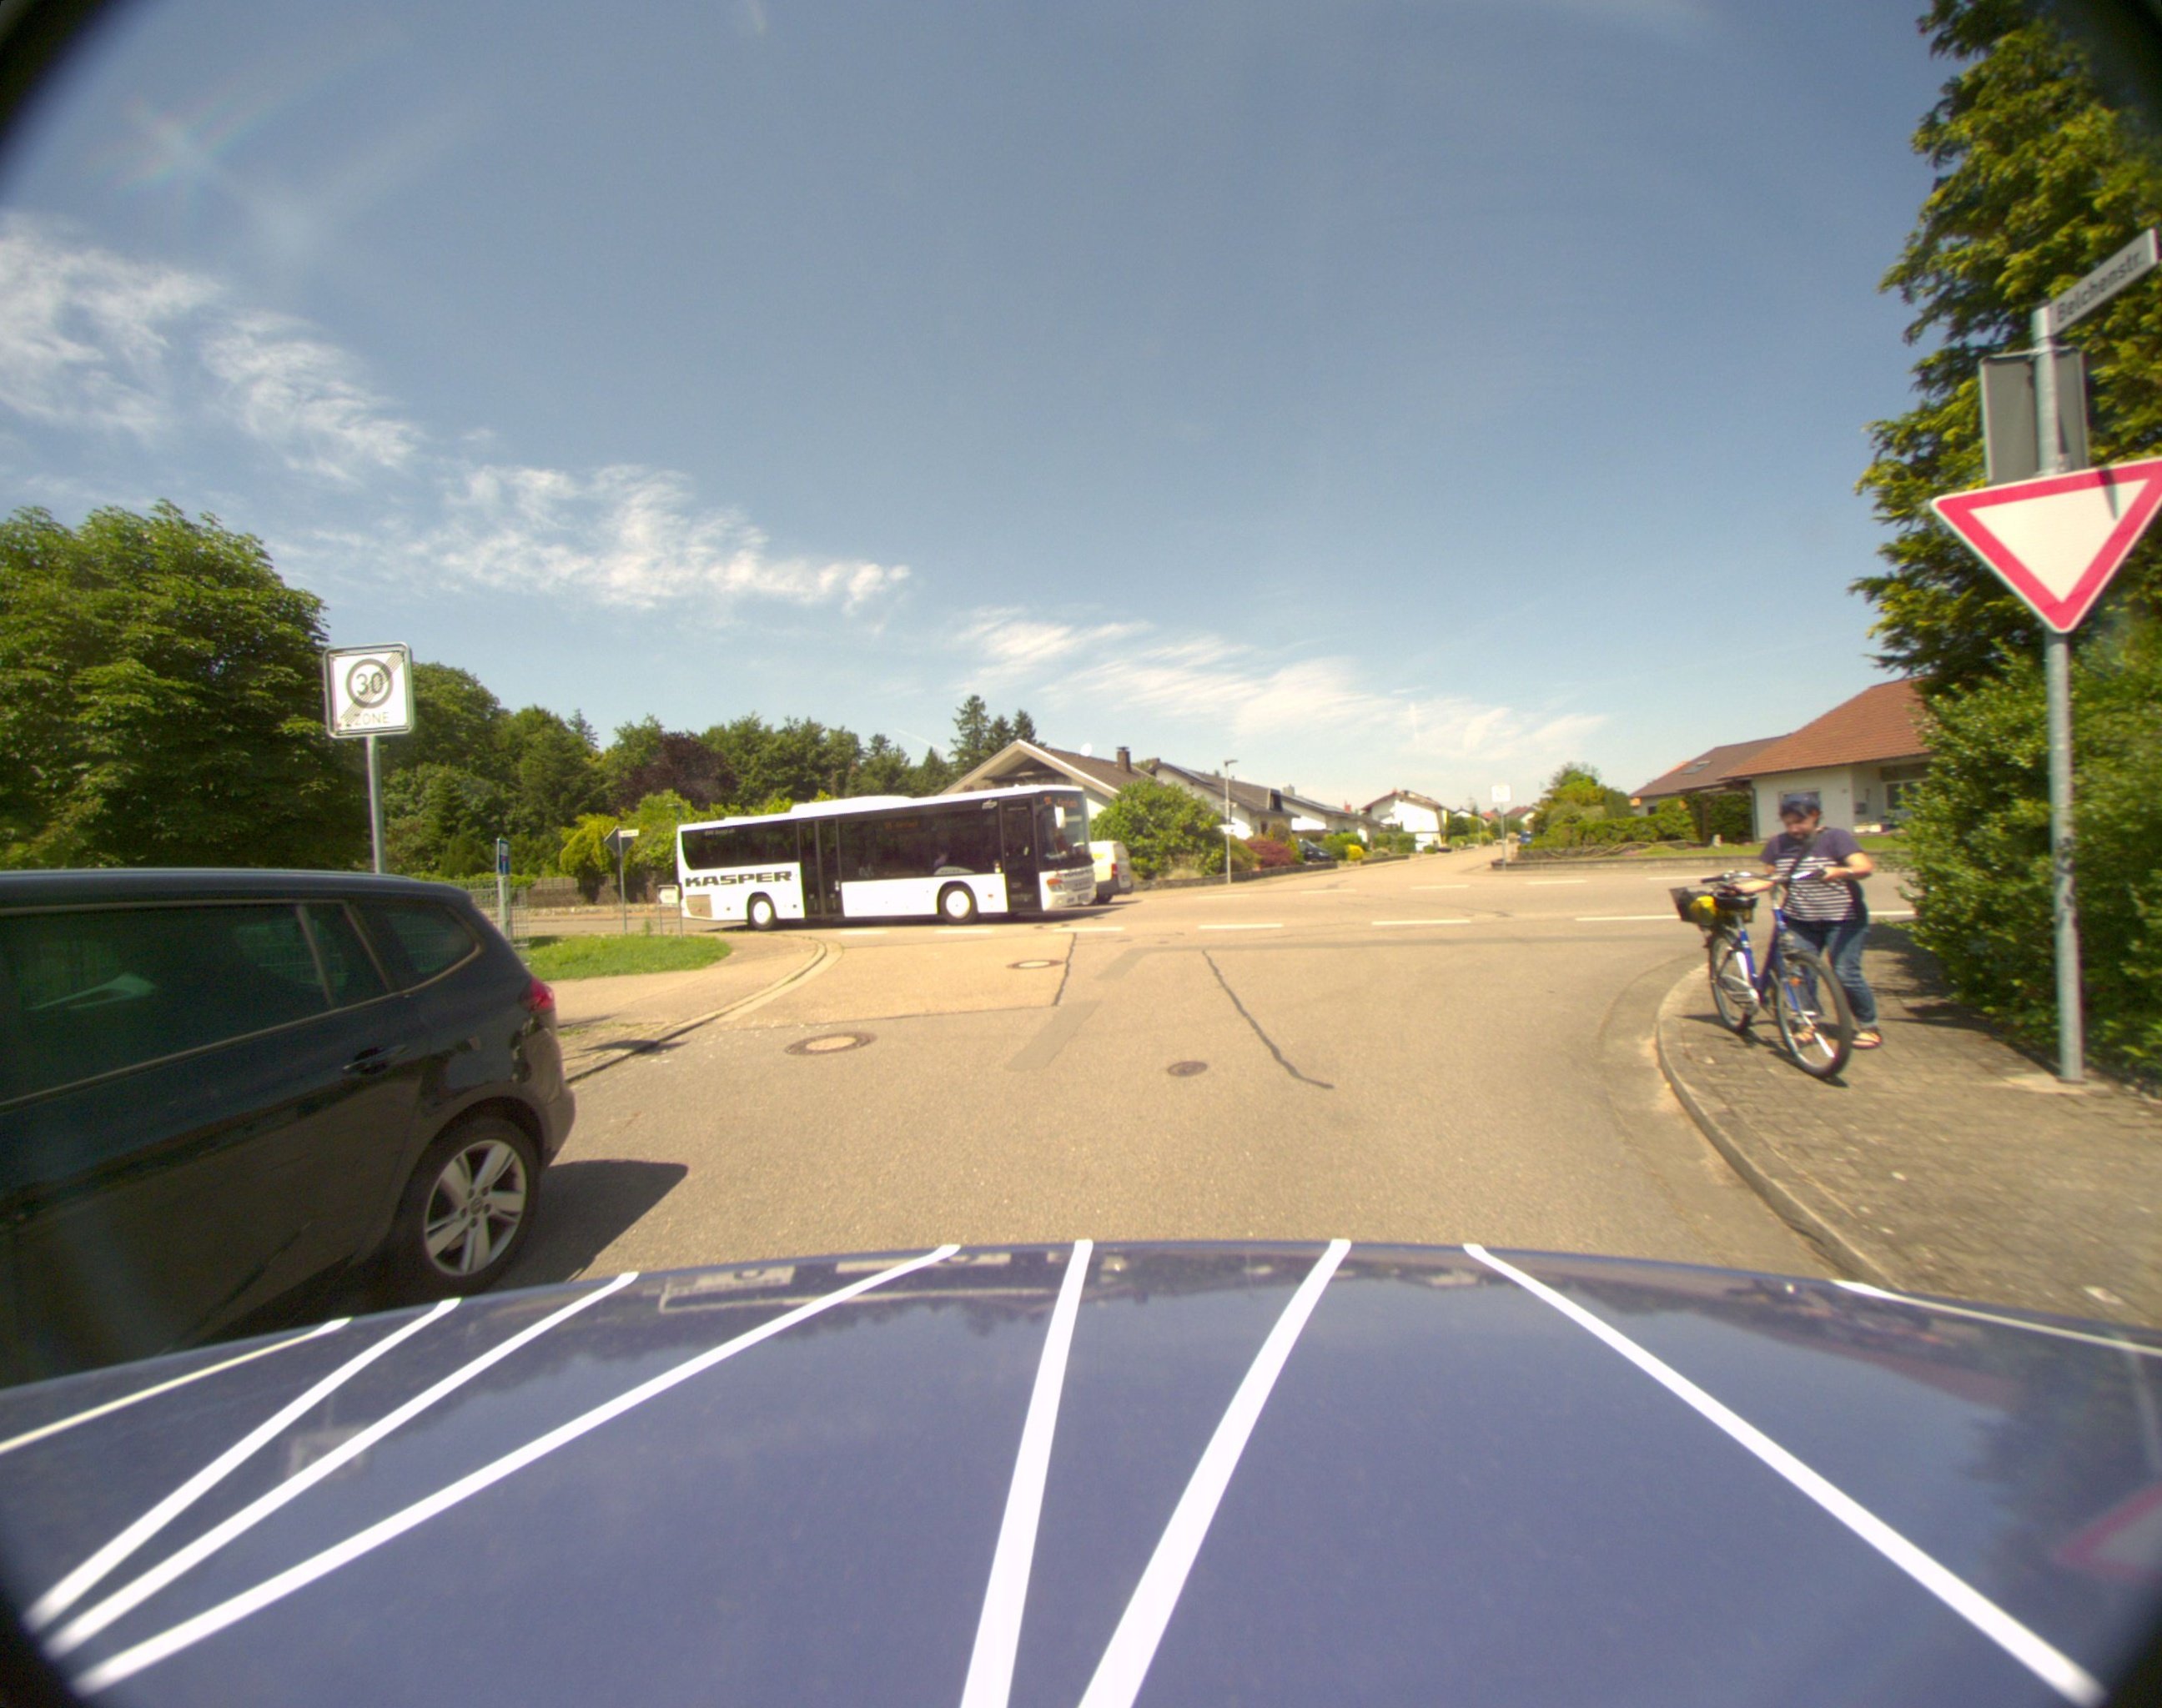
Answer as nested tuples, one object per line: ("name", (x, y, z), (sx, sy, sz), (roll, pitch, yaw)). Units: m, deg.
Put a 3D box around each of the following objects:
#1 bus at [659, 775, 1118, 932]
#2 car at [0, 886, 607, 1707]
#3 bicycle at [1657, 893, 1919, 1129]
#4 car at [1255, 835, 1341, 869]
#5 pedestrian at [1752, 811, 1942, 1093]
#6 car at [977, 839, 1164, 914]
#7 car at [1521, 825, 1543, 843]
("bus", (-5.564, 0.238, 20.445), (12.682, 3.225, 3.197), (-4, 0, 26))
("car", (-3.297, 1.038, 1.216), (1.968, 1.652, 4.682), (-3, 0, 1))
("bicycle", (3.971, 0.780, 4.440), (0.442, 0.958, 1.851), (-3, 0, 22))
("car", (13.928, -0.120, 48.790), (4.955, 1.904, 1.931), (-3, 0, 27))
("pedestrian", (4.365, 0.526, 4.375), (0.503, 1.492, 0.612), (-3, 1, 19))
("car", (-0.273, 0.666, 22.494), (5.058, 1.846, 2.022), (-4, 1, 17))
("car", (51.344, -2.251, 86.445), (1.823, 1.871, 4.007), (-3, 0, 35))
